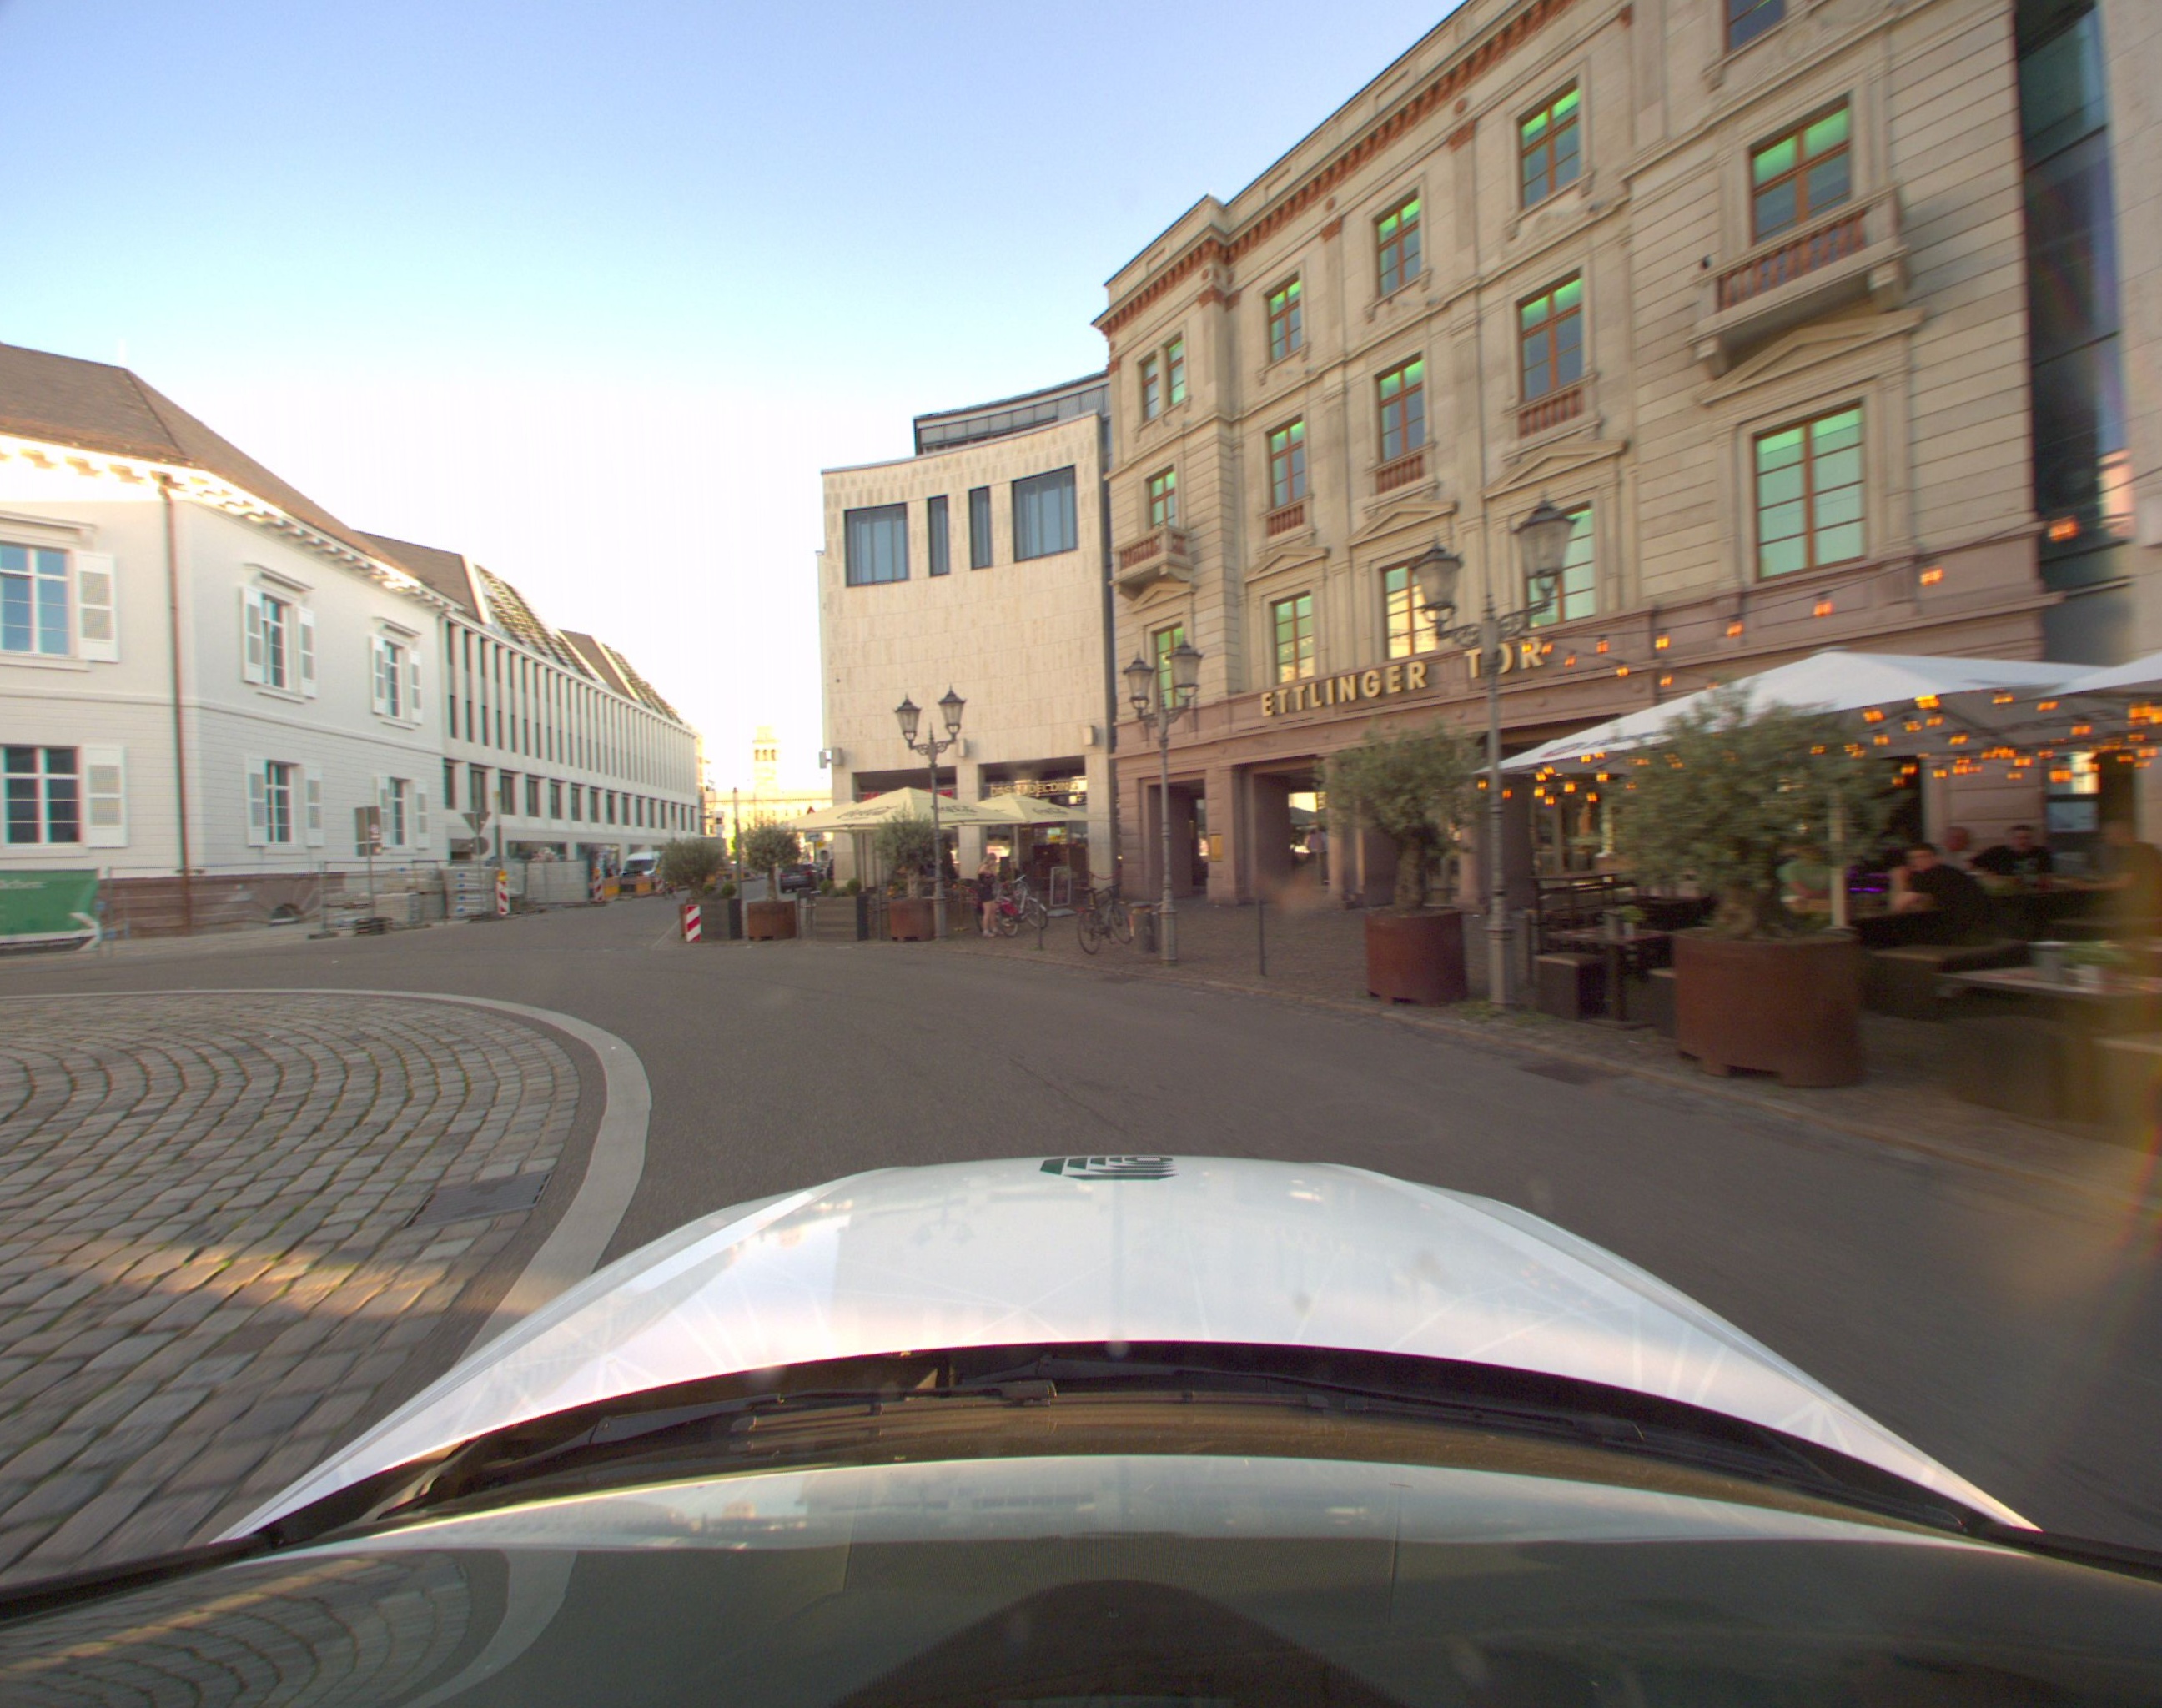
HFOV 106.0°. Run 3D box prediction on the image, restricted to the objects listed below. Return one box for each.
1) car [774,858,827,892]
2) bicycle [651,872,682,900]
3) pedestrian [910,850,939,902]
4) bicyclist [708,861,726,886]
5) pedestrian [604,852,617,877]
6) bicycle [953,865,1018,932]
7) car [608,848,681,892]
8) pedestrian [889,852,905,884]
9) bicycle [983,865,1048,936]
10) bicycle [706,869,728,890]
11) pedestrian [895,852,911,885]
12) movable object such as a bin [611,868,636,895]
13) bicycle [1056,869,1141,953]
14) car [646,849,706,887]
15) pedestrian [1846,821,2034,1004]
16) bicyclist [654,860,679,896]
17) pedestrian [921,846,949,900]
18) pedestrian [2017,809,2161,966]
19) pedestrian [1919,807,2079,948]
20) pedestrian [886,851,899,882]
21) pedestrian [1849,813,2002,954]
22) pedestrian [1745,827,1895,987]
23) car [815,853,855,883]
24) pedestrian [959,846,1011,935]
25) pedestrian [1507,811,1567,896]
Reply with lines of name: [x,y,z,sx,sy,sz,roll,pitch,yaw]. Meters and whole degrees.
car: [-14.509,1.034,42.378,1.795,1.490,4.179,-6,1,-10]
bicycle: [-19.592,1.477,38.537,0.798,1.217,2.221,-2,0,-15]
pedestrian: [-5.333,0.737,27.817,0.711,1.745,0.672,-2,0,12]
bicyclist: [-22.745,1.203,50.909,0.797,1.532,0.969,-2,0,-14]
pedestrian: [-29.940,0.654,51.804,0.543,1.577,0.577,-2,0,-13]
bicycle: [-1.885,0.855,16.364,0.601,1.128,1.914,-2,2,14]
car: [-26.925,0.942,50.514,2.174,2.470,5.977,-2,0,-11]
pedestrian: [-10.083,0.742,44.554,0.765,1.681,0.873,-2,2,-12]
bicycle: [-1.211,0.856,15.567,0.601,1.128,1.914,-2,2,14]
bicycle: [-22.742,1.601,50.878,0.797,1.217,2.223,-2,0,-14]
pedestrian: [-9.509,0.758,43.551,0.765,1.681,0.873,-2,2,-12]
movable object such as a bin: [-26.102,1.551,46.497,1.048,1.466,1.383,-2,0,-23]
bicycle: [0.325,0.878,13.248,0.600,1.128,1.918,-2,3,25]
car: [-28.622,0.953,57.746,2.174,2.470,5.976,-2,0,-11]
pedestrian: [7.225,0.464,6.903,0.716,1.447,0.869,-2,0,13]
bicyclist: [-19.606,1.116,38.543,0.798,1.602,1.224,-2,0,-15]
pedestrian: [-5.139,0.661,28.647,0.711,1.862,0.672,-2,0,12]
pedestrian: [10.069,0.297,7.986,0.769,1.447,0.854,-2,0,5]
pedestrian: [10.073,0.243,8.976,0.769,1.447,0.854,-2,0,5]
pedestrian: [-10.588,0.708,45.738,0.591,1.698,0.693,-3,1,-13]
pedestrian: [9.208,0.300,8.918,0.769,1.447,0.853,-2,0,3]
pedestrian: [7.107,0.484,7.884,0.716,1.447,0.869,-2,0,13]
car: [-15.341,0.863,50.994,1.769,1.637,4.042,-6,1,-10]
pedestrian: [-1.790,0.667,15.277,0.743,1.588,0.716,-2,0,7]
pedestrian: [9.674,-0.013,17.280,0.720,1.747,0.862,-2,0,-38]
